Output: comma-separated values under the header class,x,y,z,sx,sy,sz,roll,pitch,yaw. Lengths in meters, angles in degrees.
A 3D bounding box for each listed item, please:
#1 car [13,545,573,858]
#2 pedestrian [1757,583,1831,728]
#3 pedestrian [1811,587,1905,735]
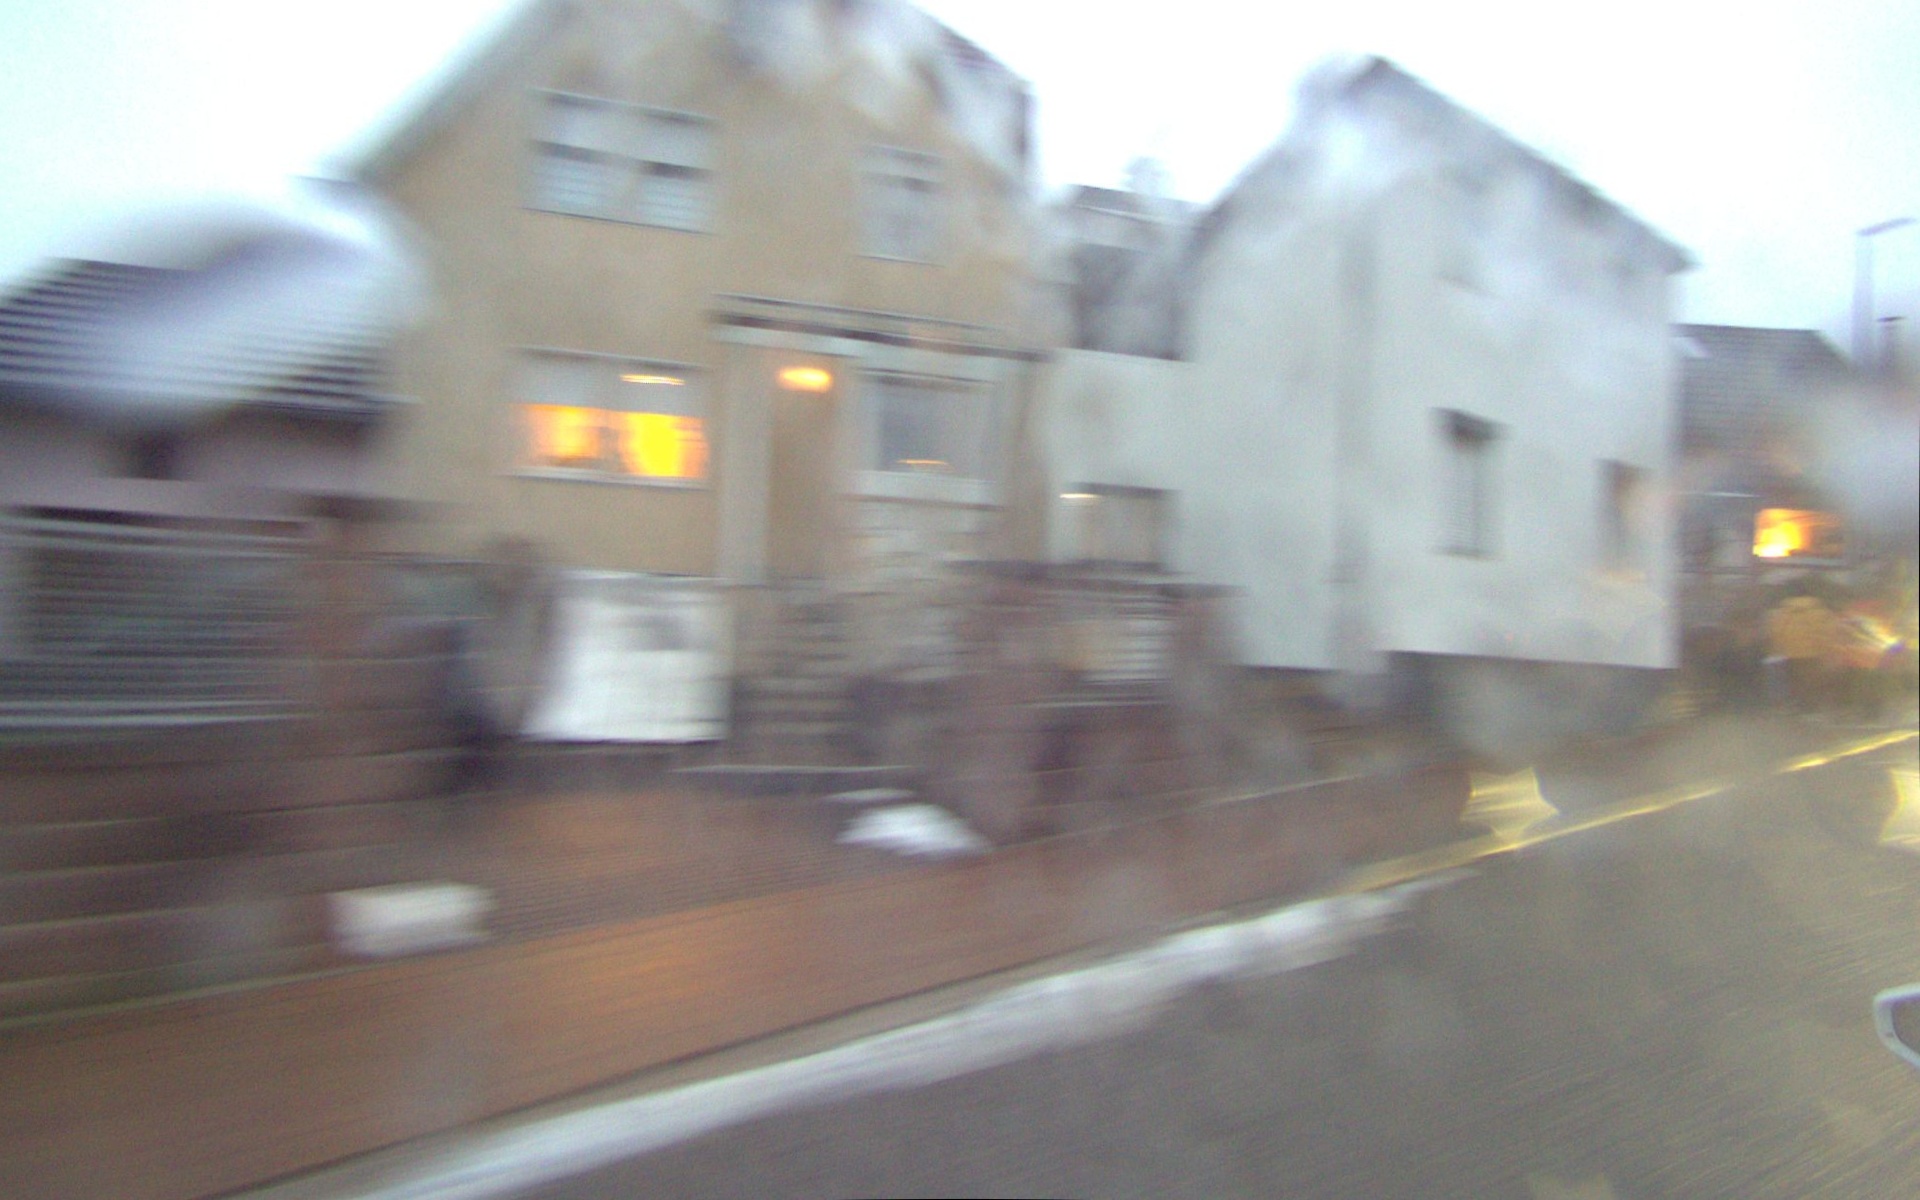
class,x,y,z,sx,sy,sz,roll,pitch,yaw
car,-4.744,0.516,7.112,3.570,1.677,1.907,2,0,30
pedestrian,11.290,0.740,13.594,0.805,1.894,0.593,2,-1,-37
pedestrian,11.495,0.756,12.858,0.804,1.803,0.701,2,1,-36
